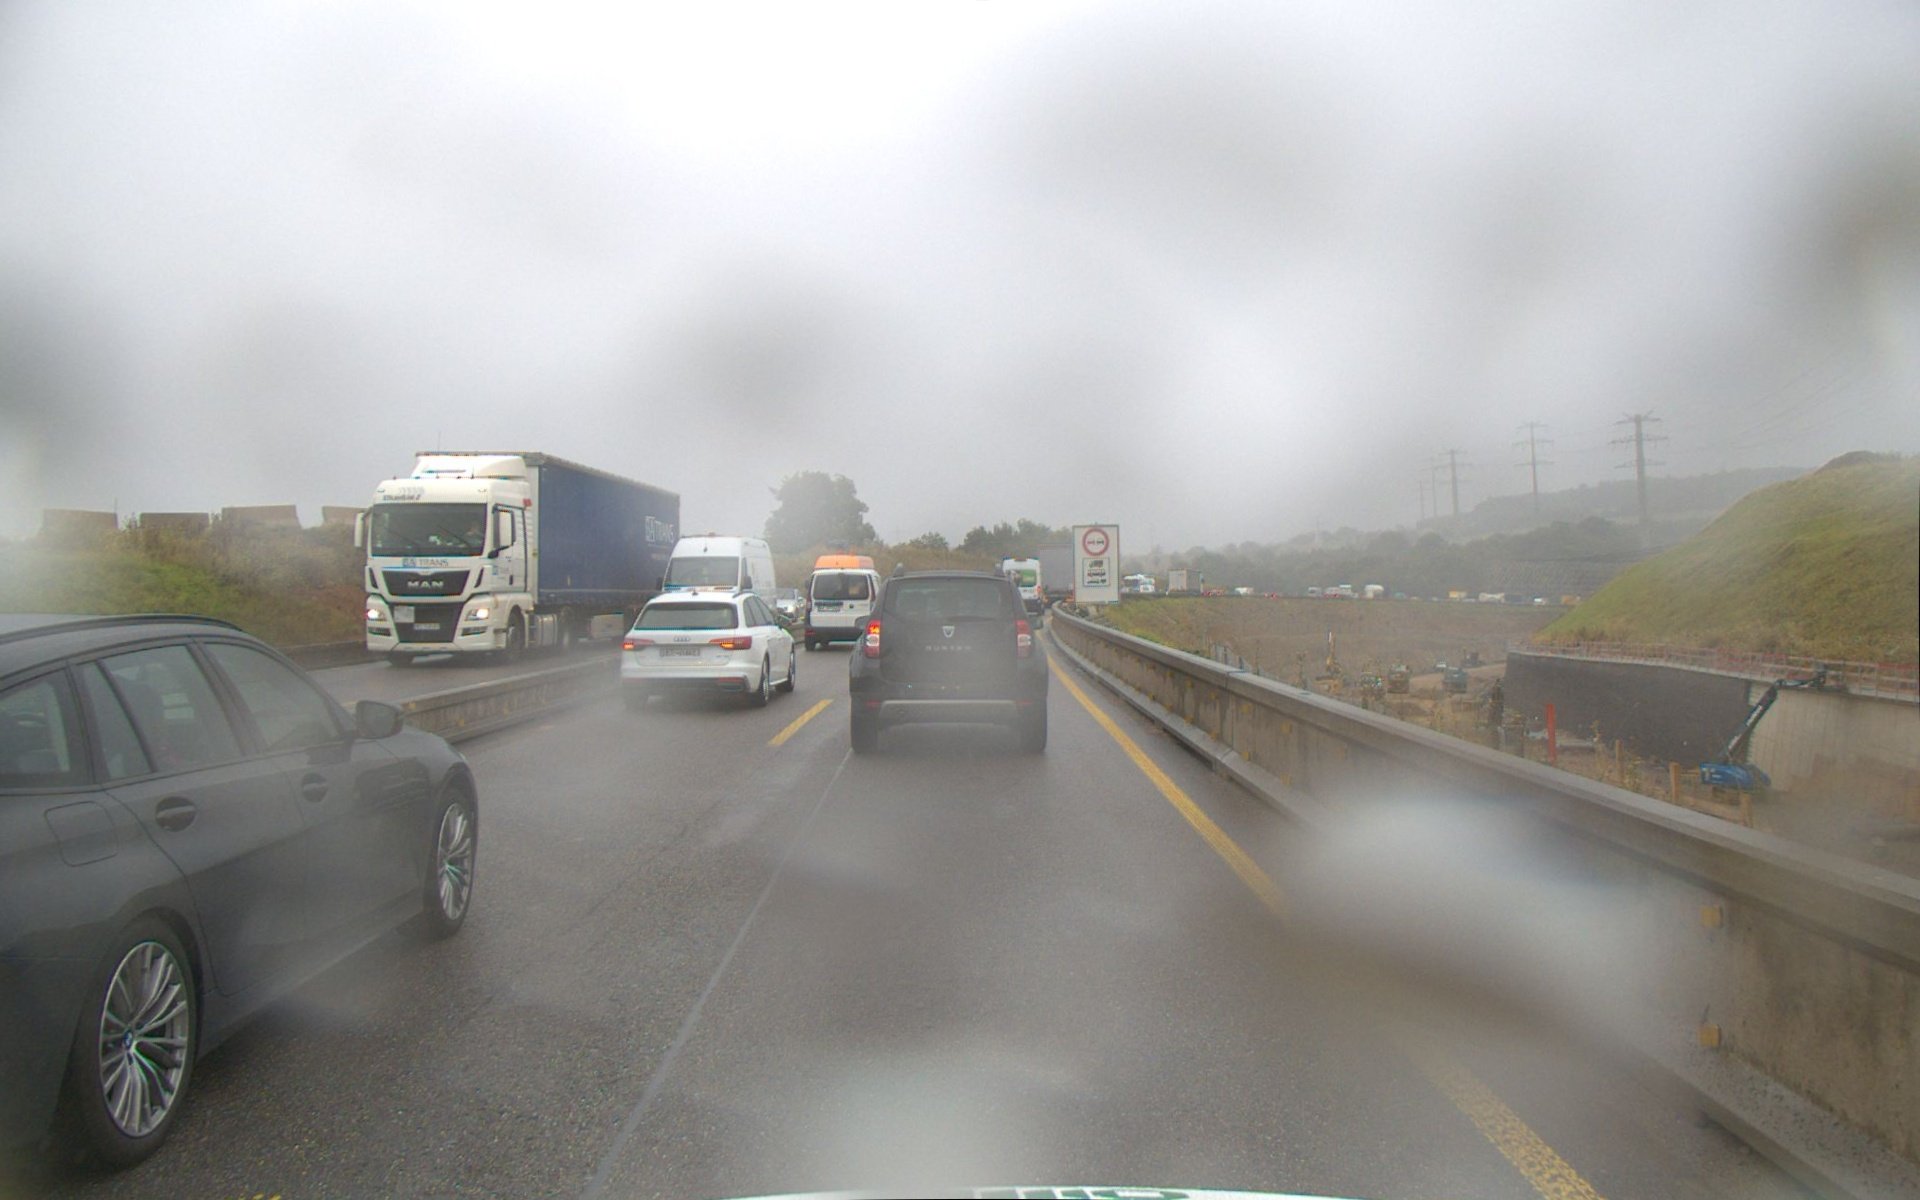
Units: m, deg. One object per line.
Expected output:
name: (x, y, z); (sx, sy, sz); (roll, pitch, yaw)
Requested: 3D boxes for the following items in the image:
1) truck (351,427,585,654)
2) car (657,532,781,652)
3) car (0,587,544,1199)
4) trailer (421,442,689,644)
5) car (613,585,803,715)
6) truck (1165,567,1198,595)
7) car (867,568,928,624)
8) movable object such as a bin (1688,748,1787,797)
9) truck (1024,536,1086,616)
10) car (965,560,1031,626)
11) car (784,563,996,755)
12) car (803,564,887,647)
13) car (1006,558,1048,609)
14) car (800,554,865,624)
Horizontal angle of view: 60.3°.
truck: (-9.592, -1.149, 32.946); (2.730, 4.105, 5.822); (0, 1, 2)
car: (-5.848, -0.257, 40.949); (1.965, 2.700, 6.886); (0, 1, 1)
car: (-2.911, 0.785, 5.443); (1.699, 1.488, 5.629); (0, 2, -1)
trailer: (-9.332, -1.310, 40.406); (2.721, 4.105, 13.746); (0, 1, 2)
car: (-3.162, 0.593, 21.493); (1.788, 1.525, 4.000); (0, 0, 1)
truck: (30.498, -2.620, 227.747); (3.398, 3.780, 8.424); (-1, 1, 15)
car: (-2.076, -0.135, 56.179); (1.788, 1.846, 4.001); (0, 0, 2)
movable object such as a bin: (36.804, 8.133, 78.311); (1.978, 2.049, 3.791); (3, -3, -37)
truck: (6.530, -1.547, 111.812); (3.468, 5.166, 10.449); (0, 0, 7)
car: (1.143, -0.190, 47.767); (1.788, 1.846, 4.001); (0, 0, 3)
car: (-0.545, 0.500, 15.909); (1.788, 1.619, 4.000); (0, 0, 1)
car: (-2.666, 0.128, 39.082); (1.789, 1.846, 3.999); (0, 0, -1)
car: (3.379, -0.801, 82.725); (1.787, 2.480, 4.161); (0, 0, 7)
car: (-4.937, -0.464, 65.004); (2.012, 2.622, 7.021); (0, 1, 0)
